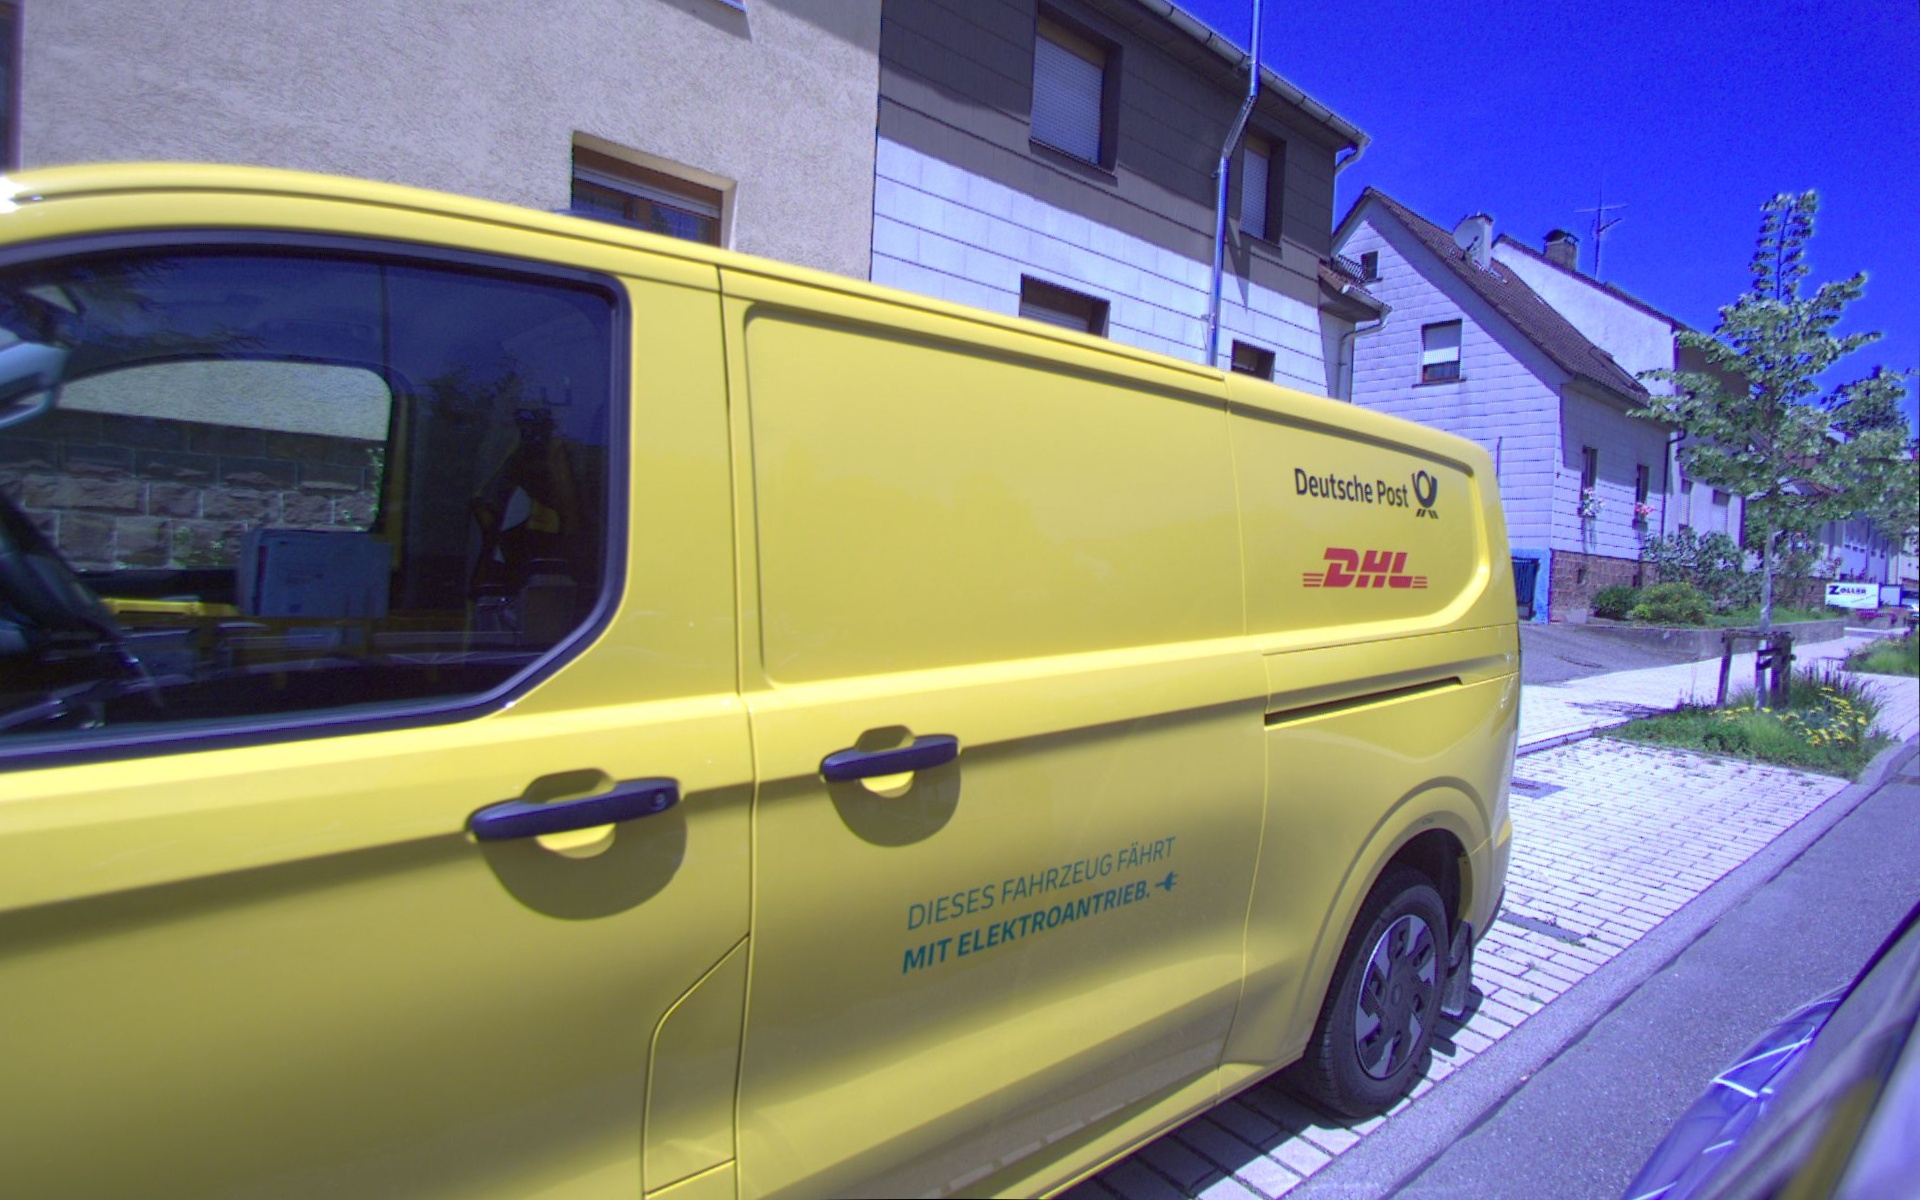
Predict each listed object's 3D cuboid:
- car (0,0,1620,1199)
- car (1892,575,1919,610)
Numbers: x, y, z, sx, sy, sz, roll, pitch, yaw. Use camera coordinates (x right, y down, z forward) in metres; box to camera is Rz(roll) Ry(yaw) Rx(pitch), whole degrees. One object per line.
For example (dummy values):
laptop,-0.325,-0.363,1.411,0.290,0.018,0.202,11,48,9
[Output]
car,-0.677,0.235,2.313,5.527,2.037,2.194,-1,7,-42
car,49.255,-0.377,51.621,4.428,1.640,1.868,-1,6,-40
